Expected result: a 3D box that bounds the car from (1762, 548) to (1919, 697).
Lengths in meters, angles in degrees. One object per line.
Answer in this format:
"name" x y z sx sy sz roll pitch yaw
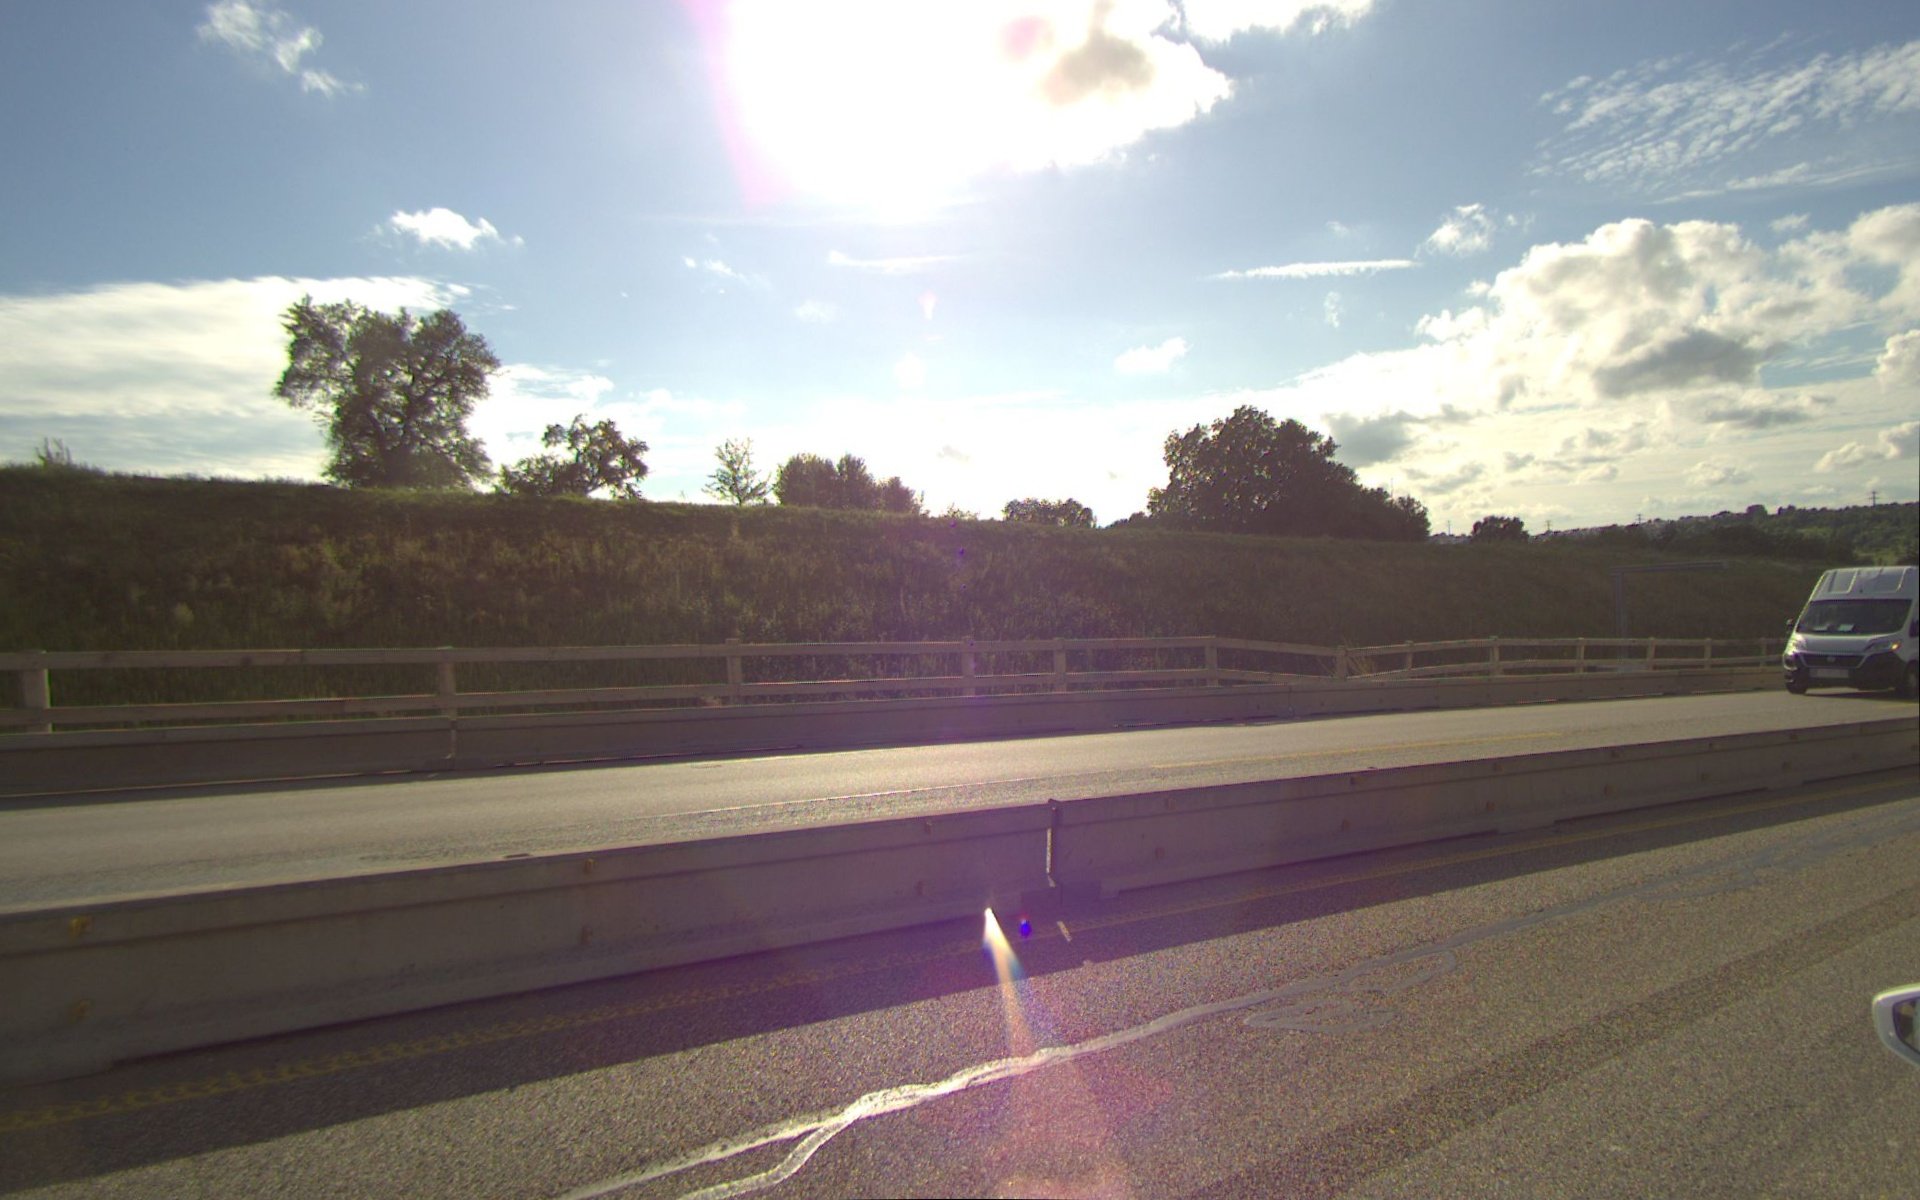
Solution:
"car" 20.166 0.553 21.883 6.066 2.872 2.100 1 -3 -30
